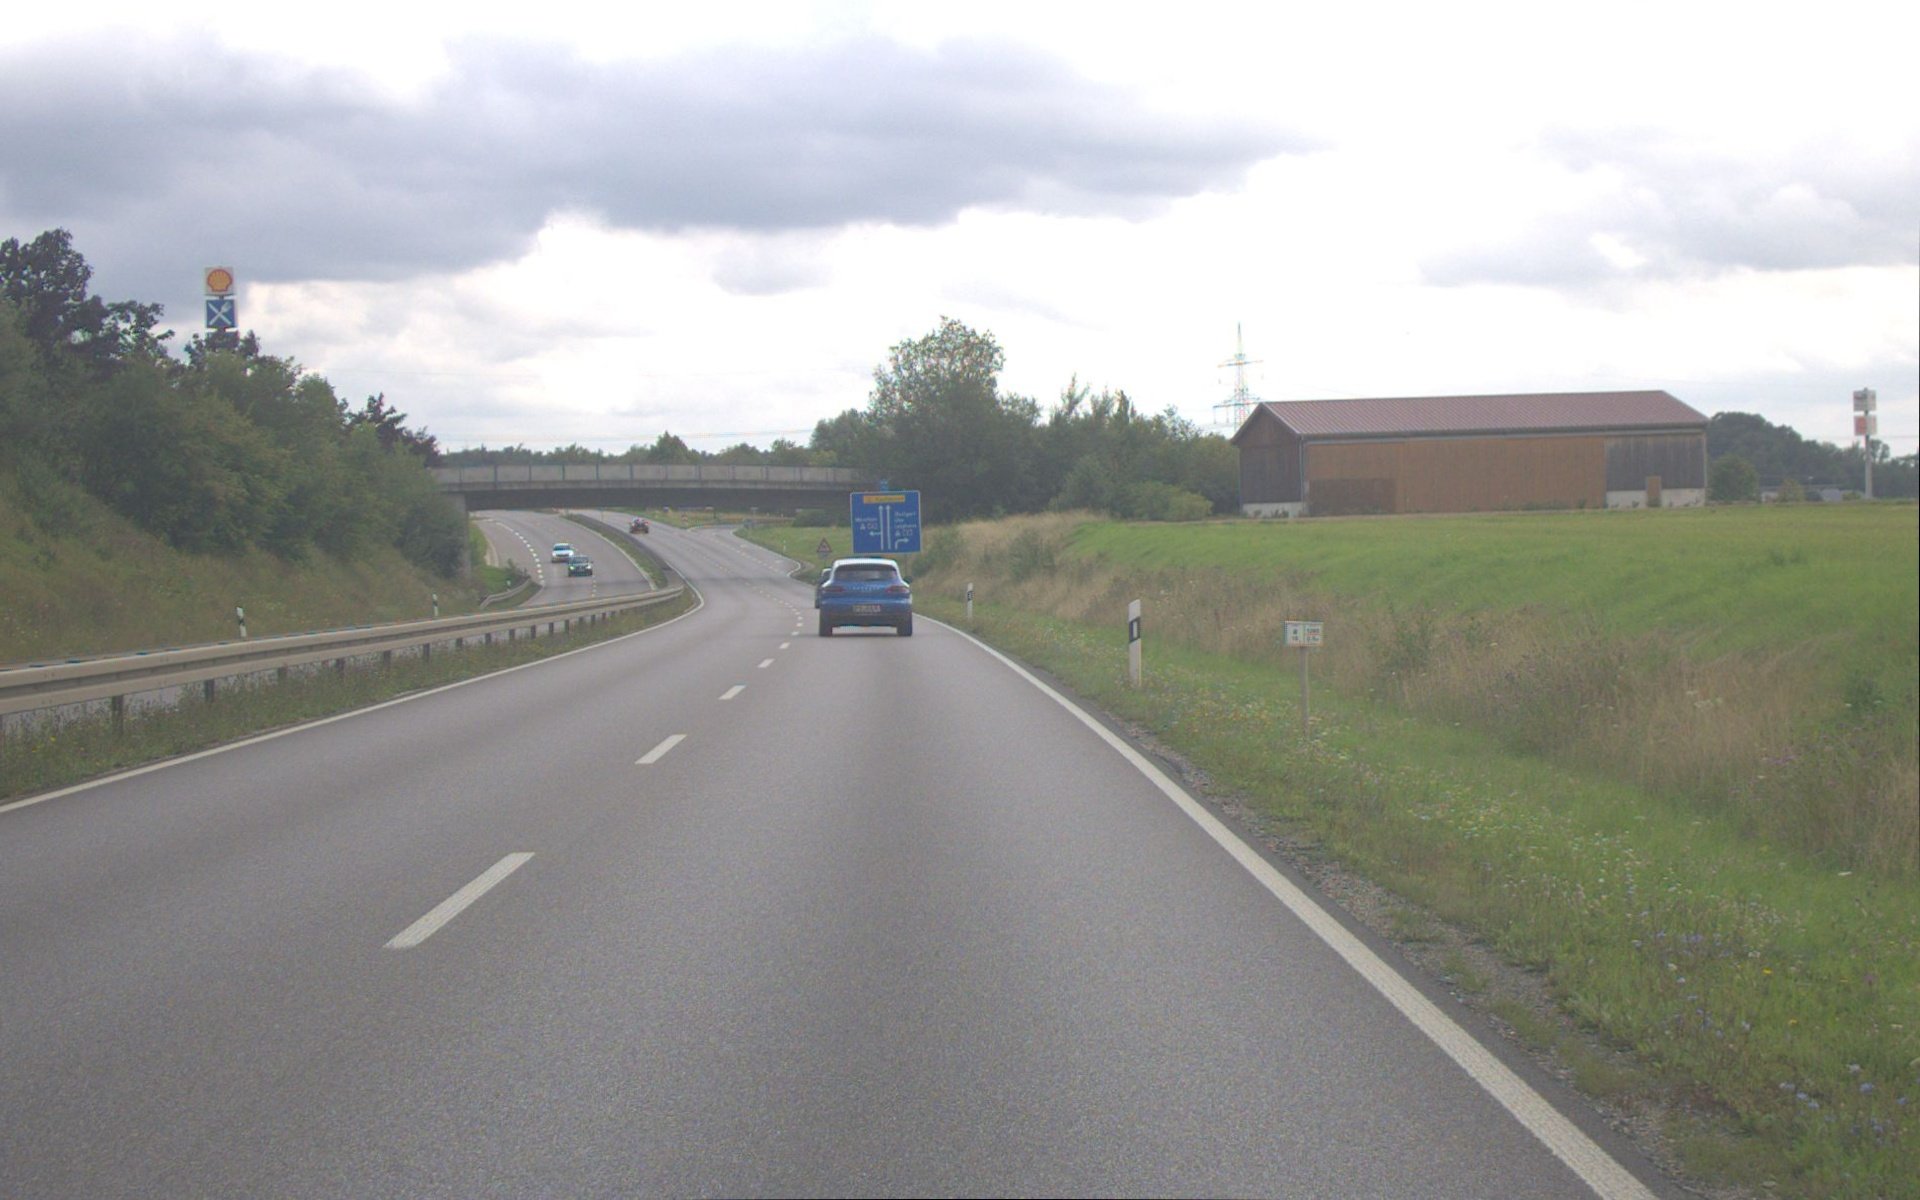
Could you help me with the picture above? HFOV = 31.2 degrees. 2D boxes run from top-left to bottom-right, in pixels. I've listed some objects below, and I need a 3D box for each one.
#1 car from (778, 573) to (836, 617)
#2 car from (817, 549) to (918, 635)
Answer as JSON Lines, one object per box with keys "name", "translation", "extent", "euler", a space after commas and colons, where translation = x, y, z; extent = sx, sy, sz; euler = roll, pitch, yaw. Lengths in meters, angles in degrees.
{"name": "car", "translation": [-5.721, -0.209, 128.257], "extent": [1.917, 1.448, 4.365], "euler": [-2, 2, -5]}
{"name": "car", "translation": [-1.968, -0.191, 72.182], "extent": [2.033, 1.654, 4.544], "euler": [0, 2, -2]}
